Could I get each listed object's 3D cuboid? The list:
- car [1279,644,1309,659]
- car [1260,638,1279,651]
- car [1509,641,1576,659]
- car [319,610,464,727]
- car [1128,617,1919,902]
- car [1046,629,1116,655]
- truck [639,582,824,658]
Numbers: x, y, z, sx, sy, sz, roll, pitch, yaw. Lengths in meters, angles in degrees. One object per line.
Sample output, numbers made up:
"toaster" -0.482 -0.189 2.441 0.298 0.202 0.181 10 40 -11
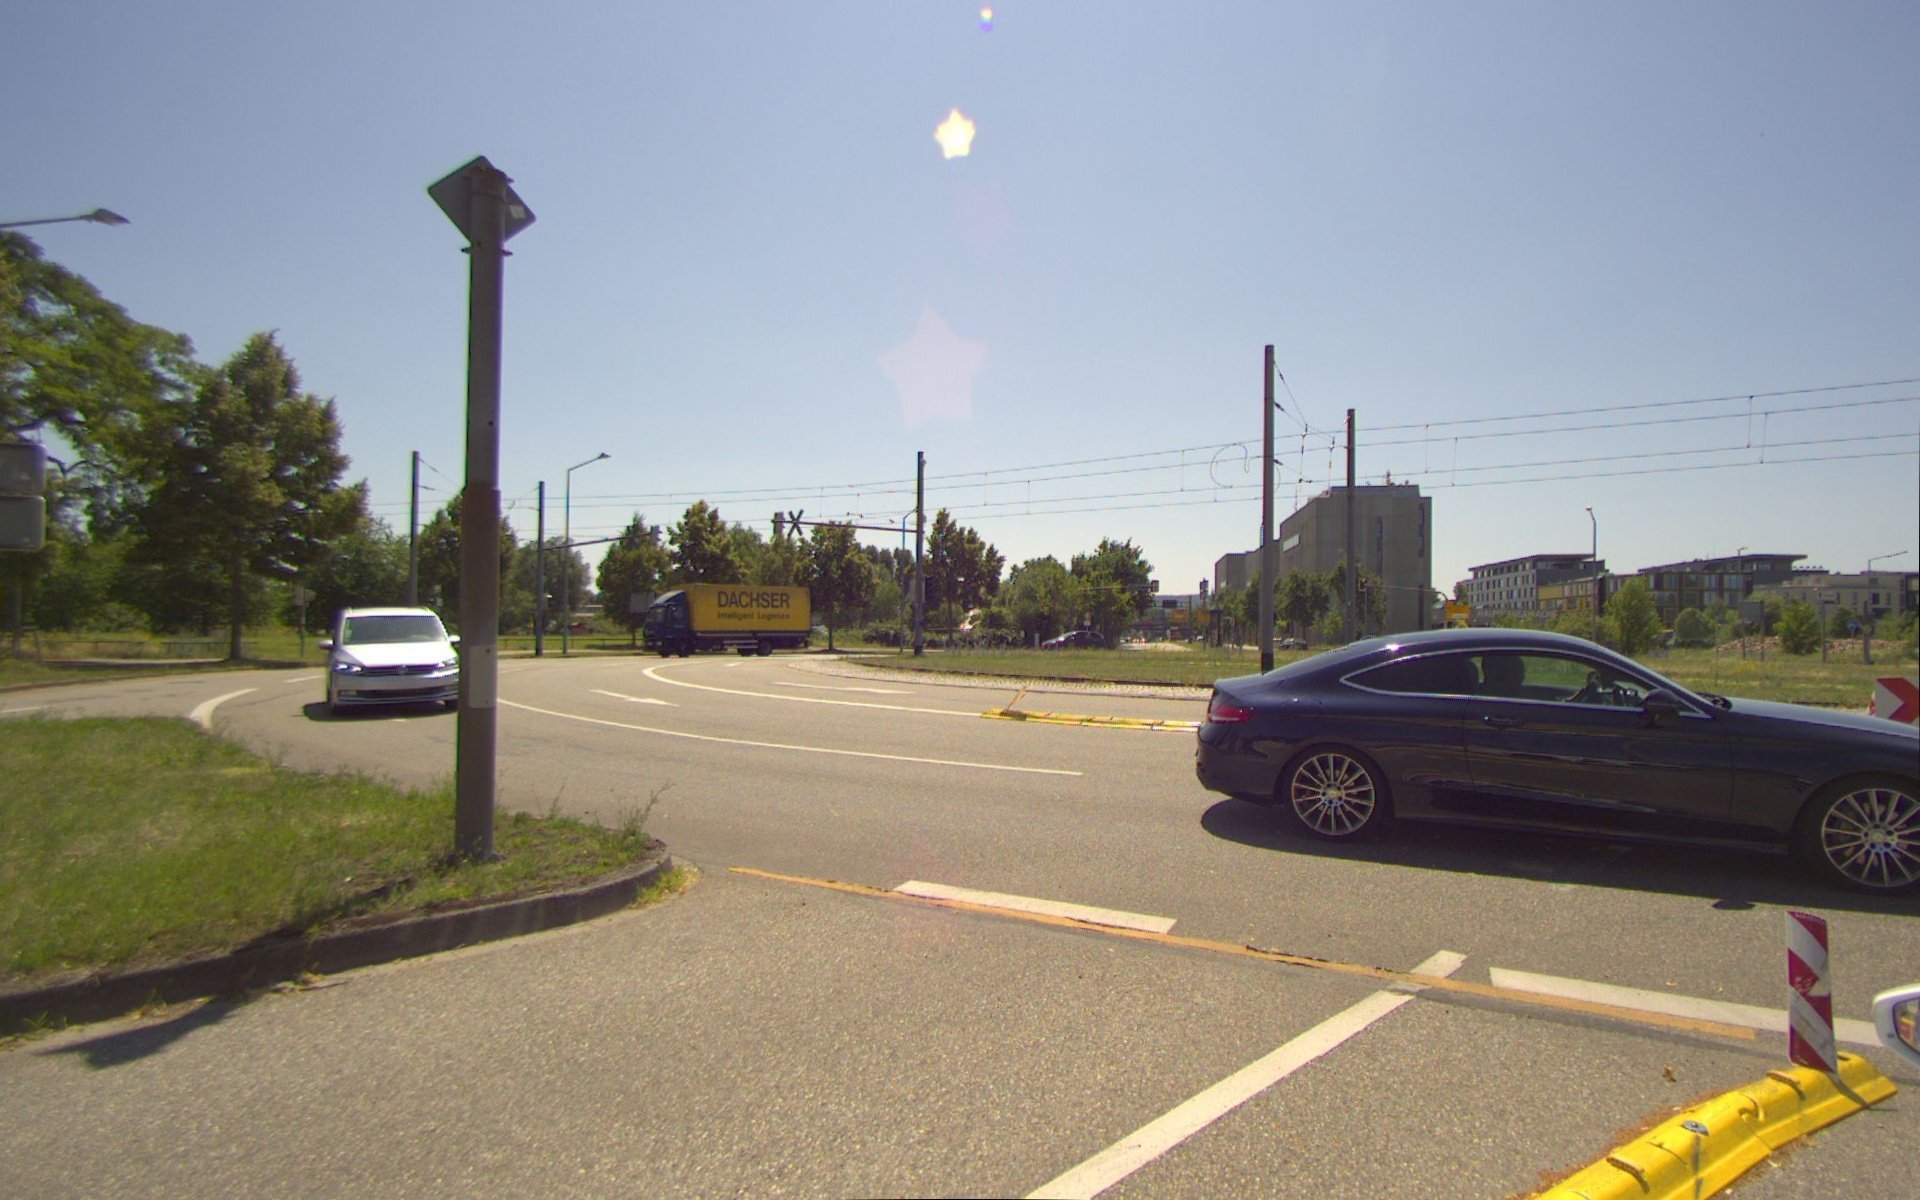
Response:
"car" 29.033 4.483 87.299 1.524 1.208 3.478 1 -2 1
"car" 41.069 5.902 133.485 1.959 1.639 4.003 2 -1 11
"car" 37.828 3.219 65.288 1.484 1.104 3.483 2 -2 -37
"car" -9.342 1.032 16.813 1.782 1.670 4.575 0 -1 -26
"car" 3.770 0.872 6.848 4.862 1.455 1.856 0 -2 25
"car" 7.274 2.525 60.494 3.970 1.480 1.730 1 -2 -2
"truck" -11.983 1.133 53.587 9.548 3.707 2.673 2 -2 -43
